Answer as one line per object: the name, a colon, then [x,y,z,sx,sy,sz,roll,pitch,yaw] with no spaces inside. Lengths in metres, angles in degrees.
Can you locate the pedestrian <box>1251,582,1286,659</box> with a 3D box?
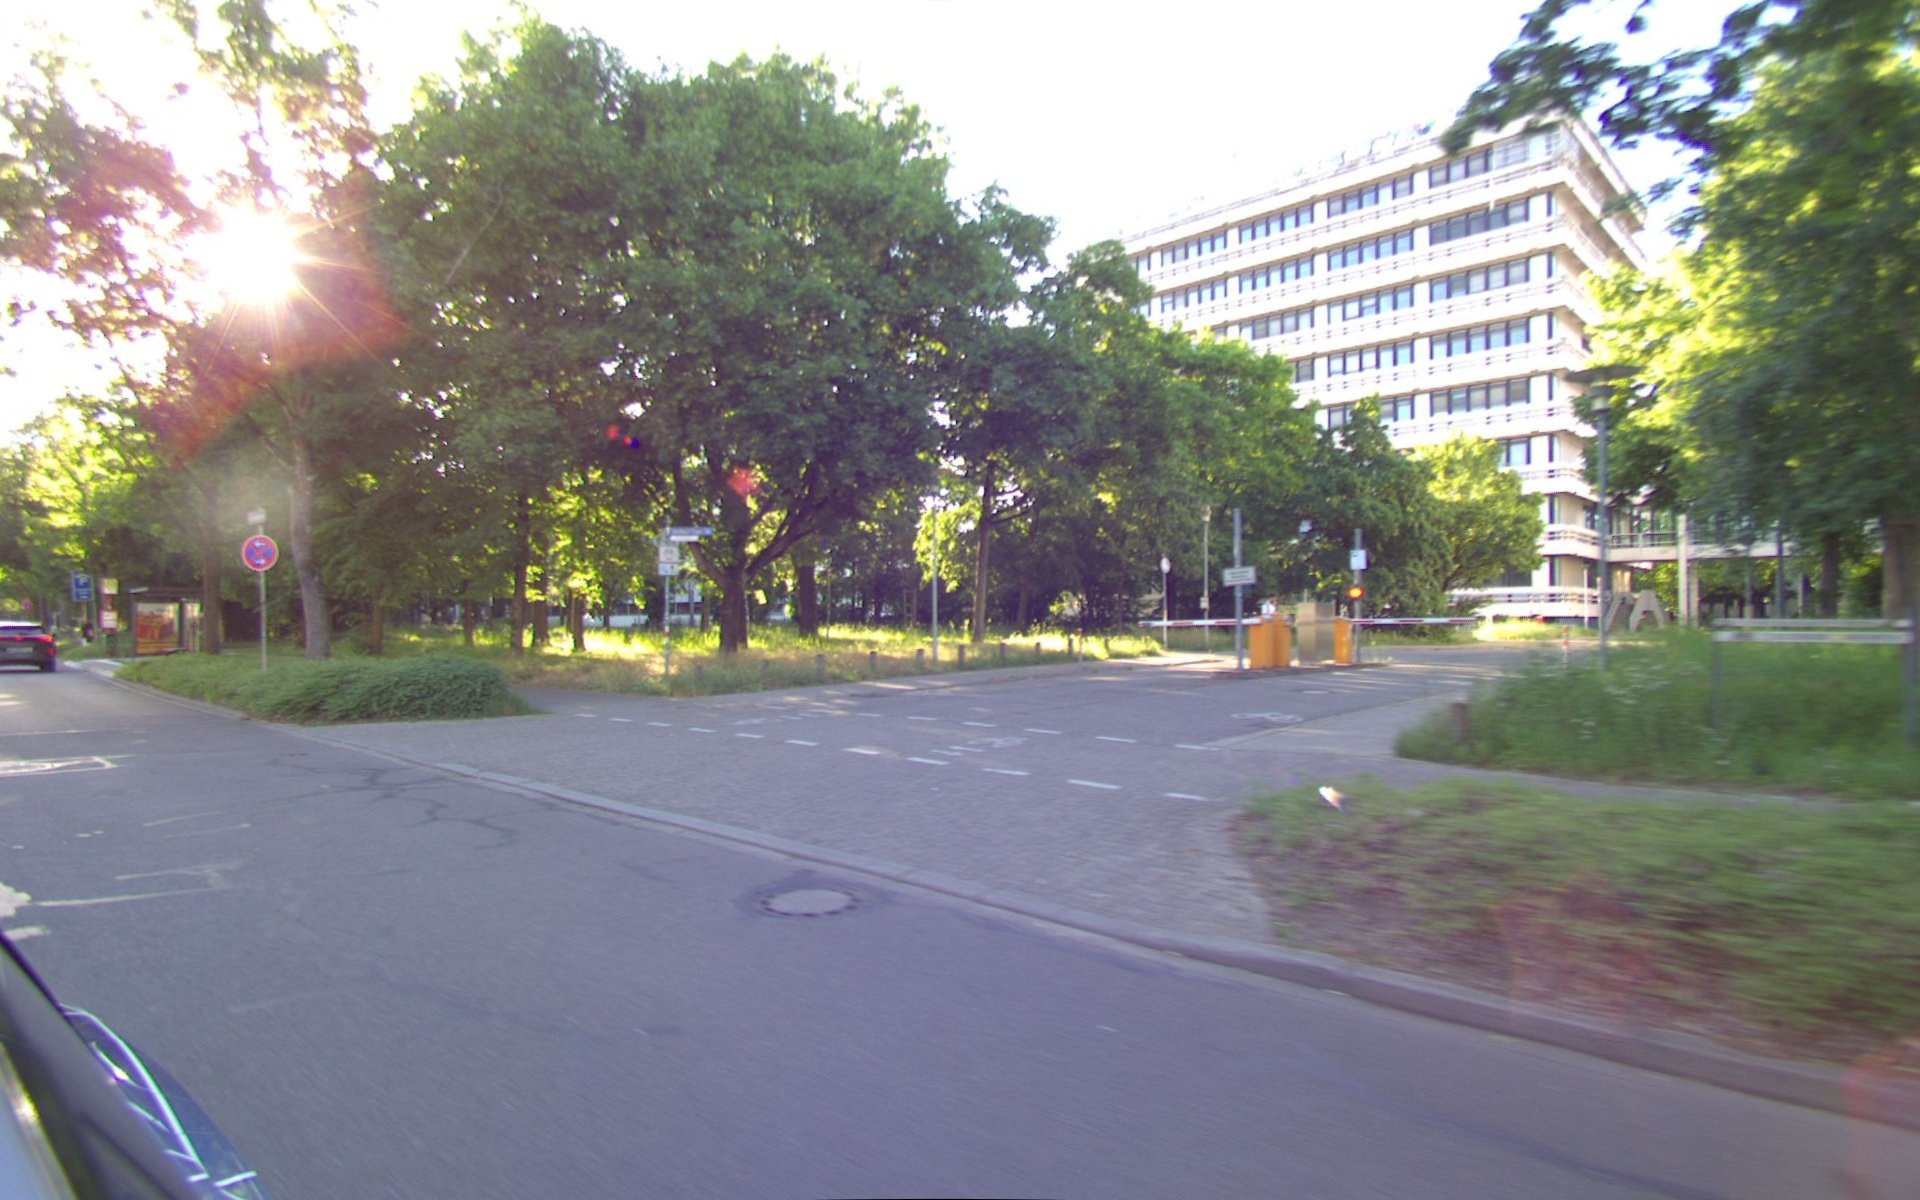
pedestrian: [8.255,0.543,27.091,0.747,2.029,0.590,0,-1,-44]

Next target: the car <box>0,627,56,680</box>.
car: [-30.049,1.667,32.027,4.337,1.591,1.823,-2,-4,44]

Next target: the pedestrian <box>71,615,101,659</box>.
pedestrian: [-37.259,1.563,43.164,0.720,1.835,0.893,-2,-1,42]
